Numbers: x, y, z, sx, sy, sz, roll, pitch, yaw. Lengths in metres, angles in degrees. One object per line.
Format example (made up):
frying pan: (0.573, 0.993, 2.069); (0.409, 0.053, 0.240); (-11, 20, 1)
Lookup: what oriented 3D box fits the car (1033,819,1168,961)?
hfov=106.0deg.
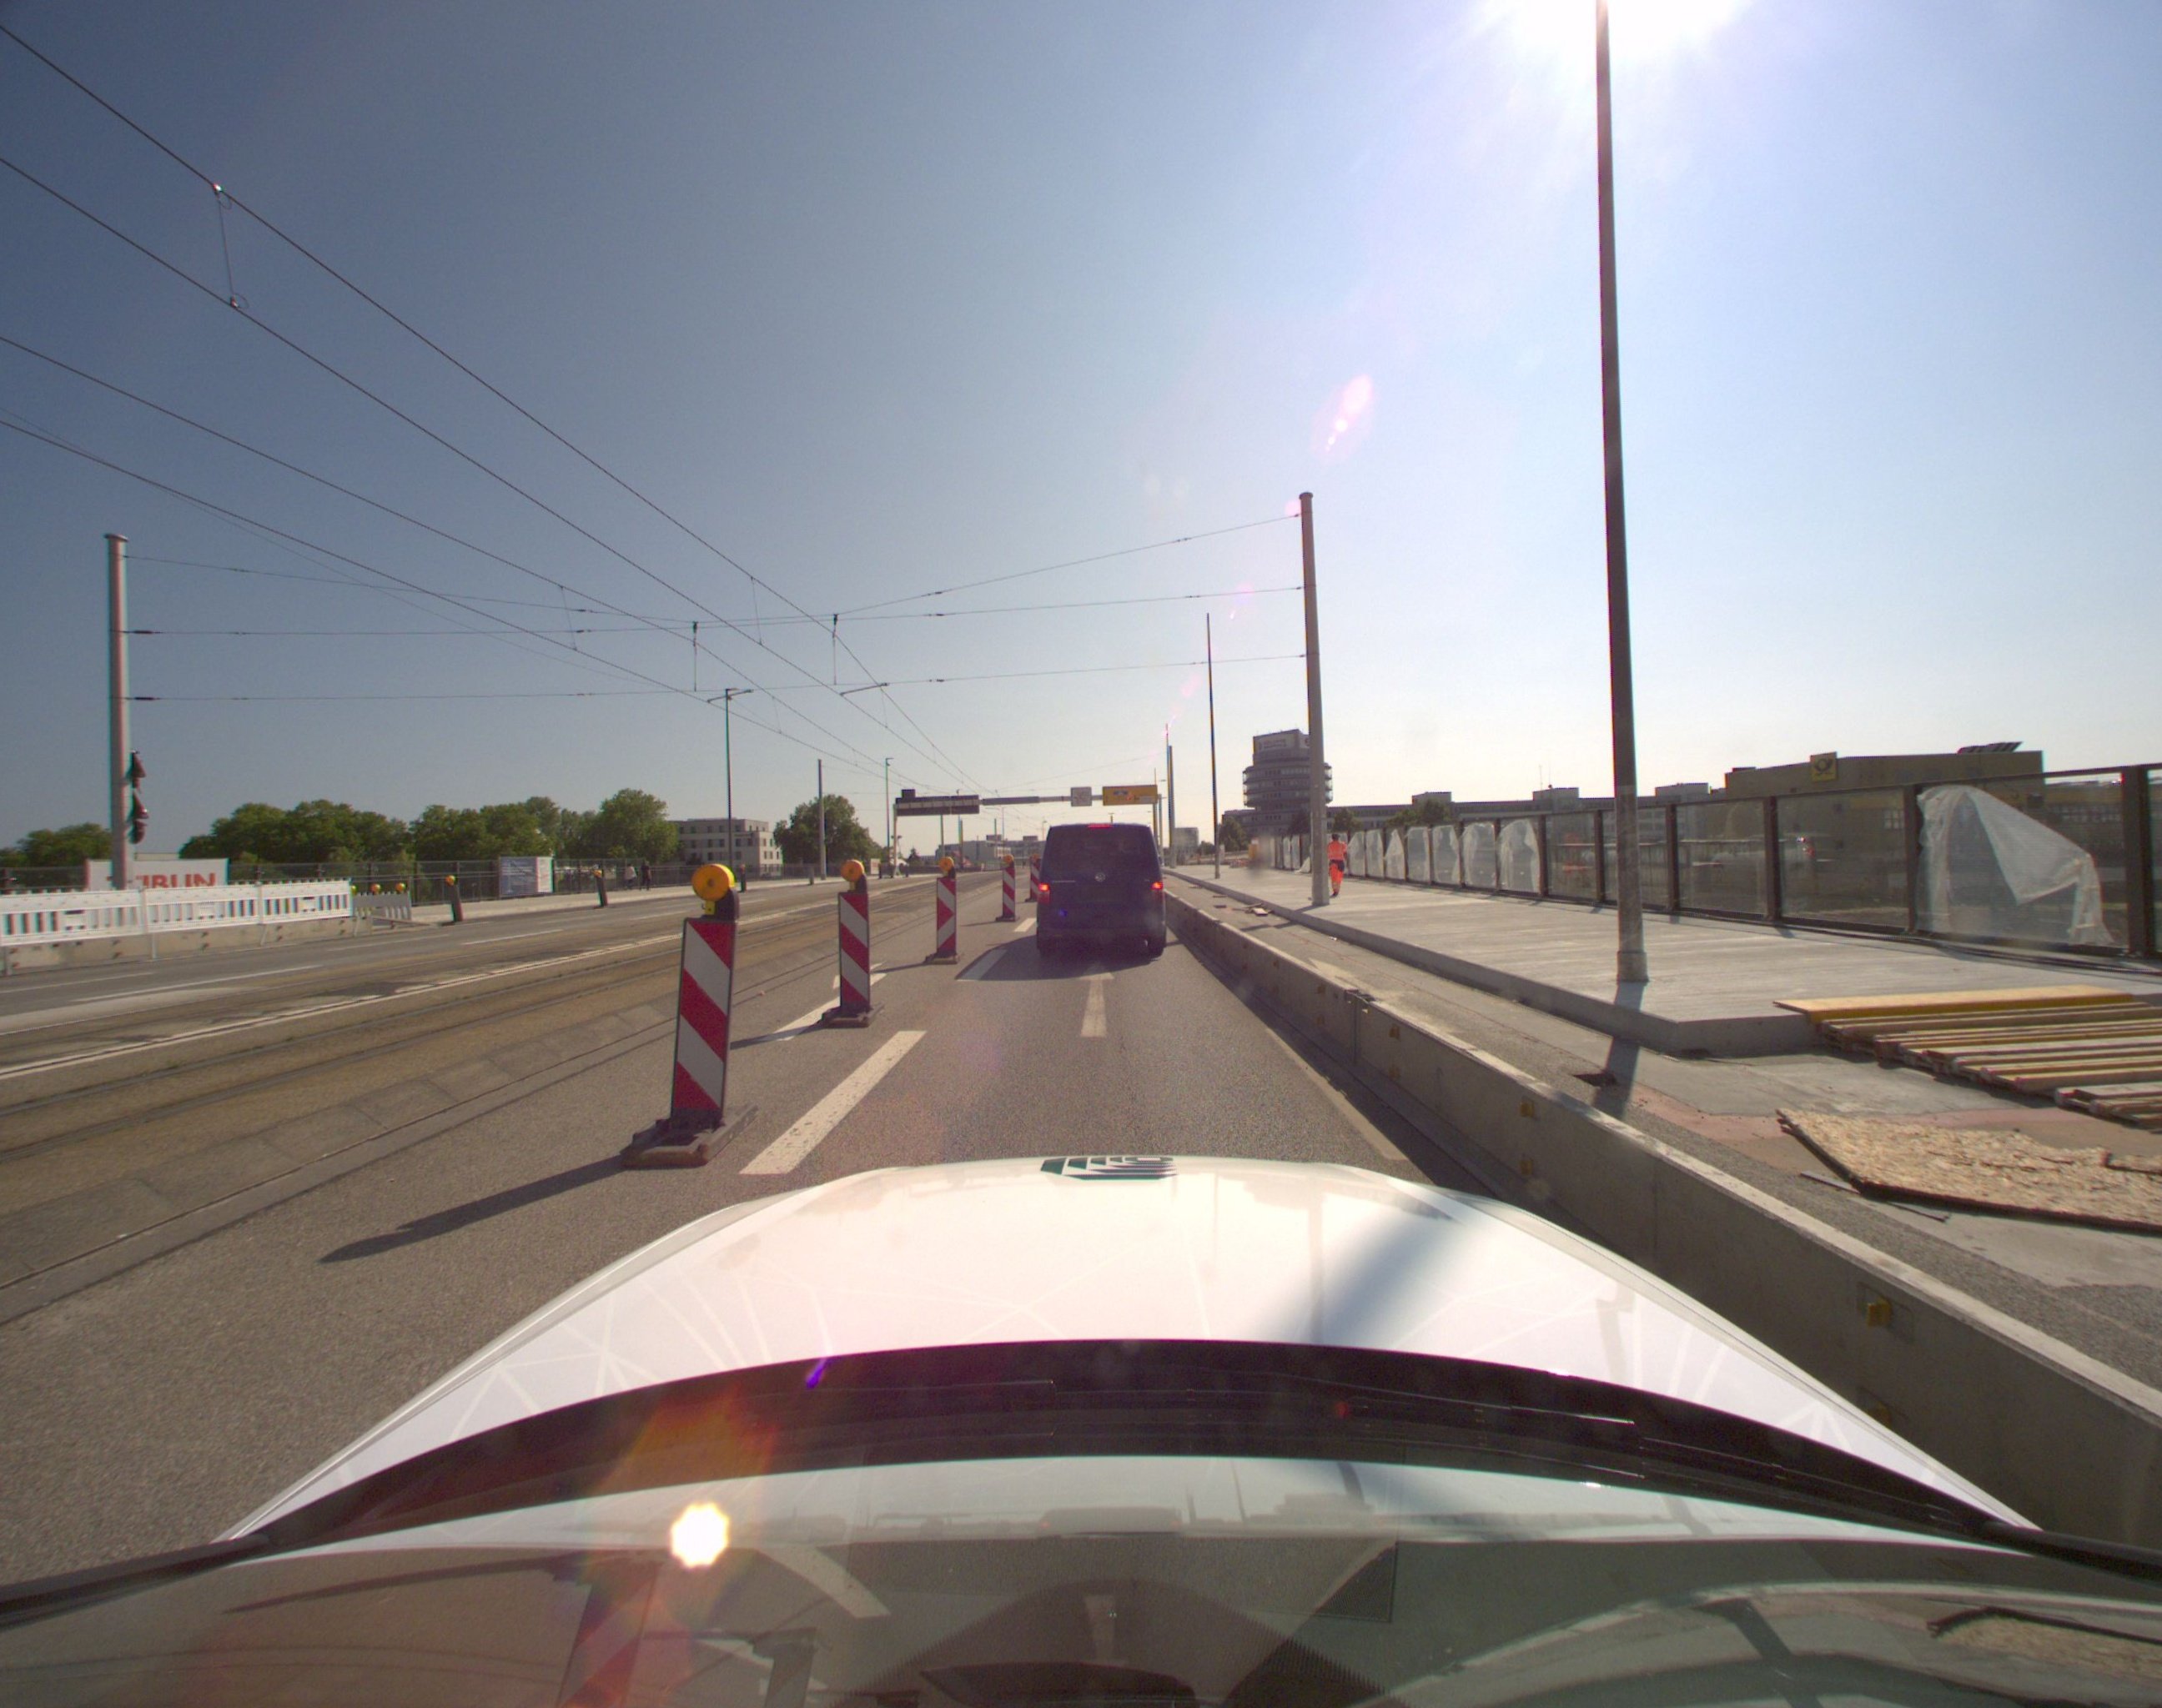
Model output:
car: (0.246, 0.496, 13.266); (1.810, 1.905, 4.053); (-2, 0, -1)

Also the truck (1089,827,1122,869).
truck: (2.072, -0.557, 69.286); (2.451, 3.134, 11.220); (-2, 1, 2)

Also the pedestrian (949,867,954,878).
pedestrian: (-20.602, 2.915, 129.811); (0.632, 1.752, 0.752); (-1, 0, 1)

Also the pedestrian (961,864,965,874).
pedestrian: (-19.215, 2.518, 132.593); (0.632, 1.598, 0.752); (-1, 0, 1)

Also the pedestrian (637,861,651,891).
pedestrian: (-24.491, 1.232, 45.630); (0.493, 1.694, 0.474); (-1, -1, 1)

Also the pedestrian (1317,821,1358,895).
pedestrian: (6.941, 0.101, 22.047); (0.779, 1.935, 0.799); (-3, -1, 1)

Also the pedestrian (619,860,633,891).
pedestrian: (-25.519, 1.206, 45.675); (0.493, 1.694, 0.474); (-1, -1, 1)

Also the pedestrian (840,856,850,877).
pedestrian: (-21.631, 1.139, 74.686); (0.632, 1.893, 0.752); (-1, 0, 1)

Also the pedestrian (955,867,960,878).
pedestrian: (-19.657, 2.938, 129.772); (0.632, 1.774, 0.752); (-1, 0, 1)
